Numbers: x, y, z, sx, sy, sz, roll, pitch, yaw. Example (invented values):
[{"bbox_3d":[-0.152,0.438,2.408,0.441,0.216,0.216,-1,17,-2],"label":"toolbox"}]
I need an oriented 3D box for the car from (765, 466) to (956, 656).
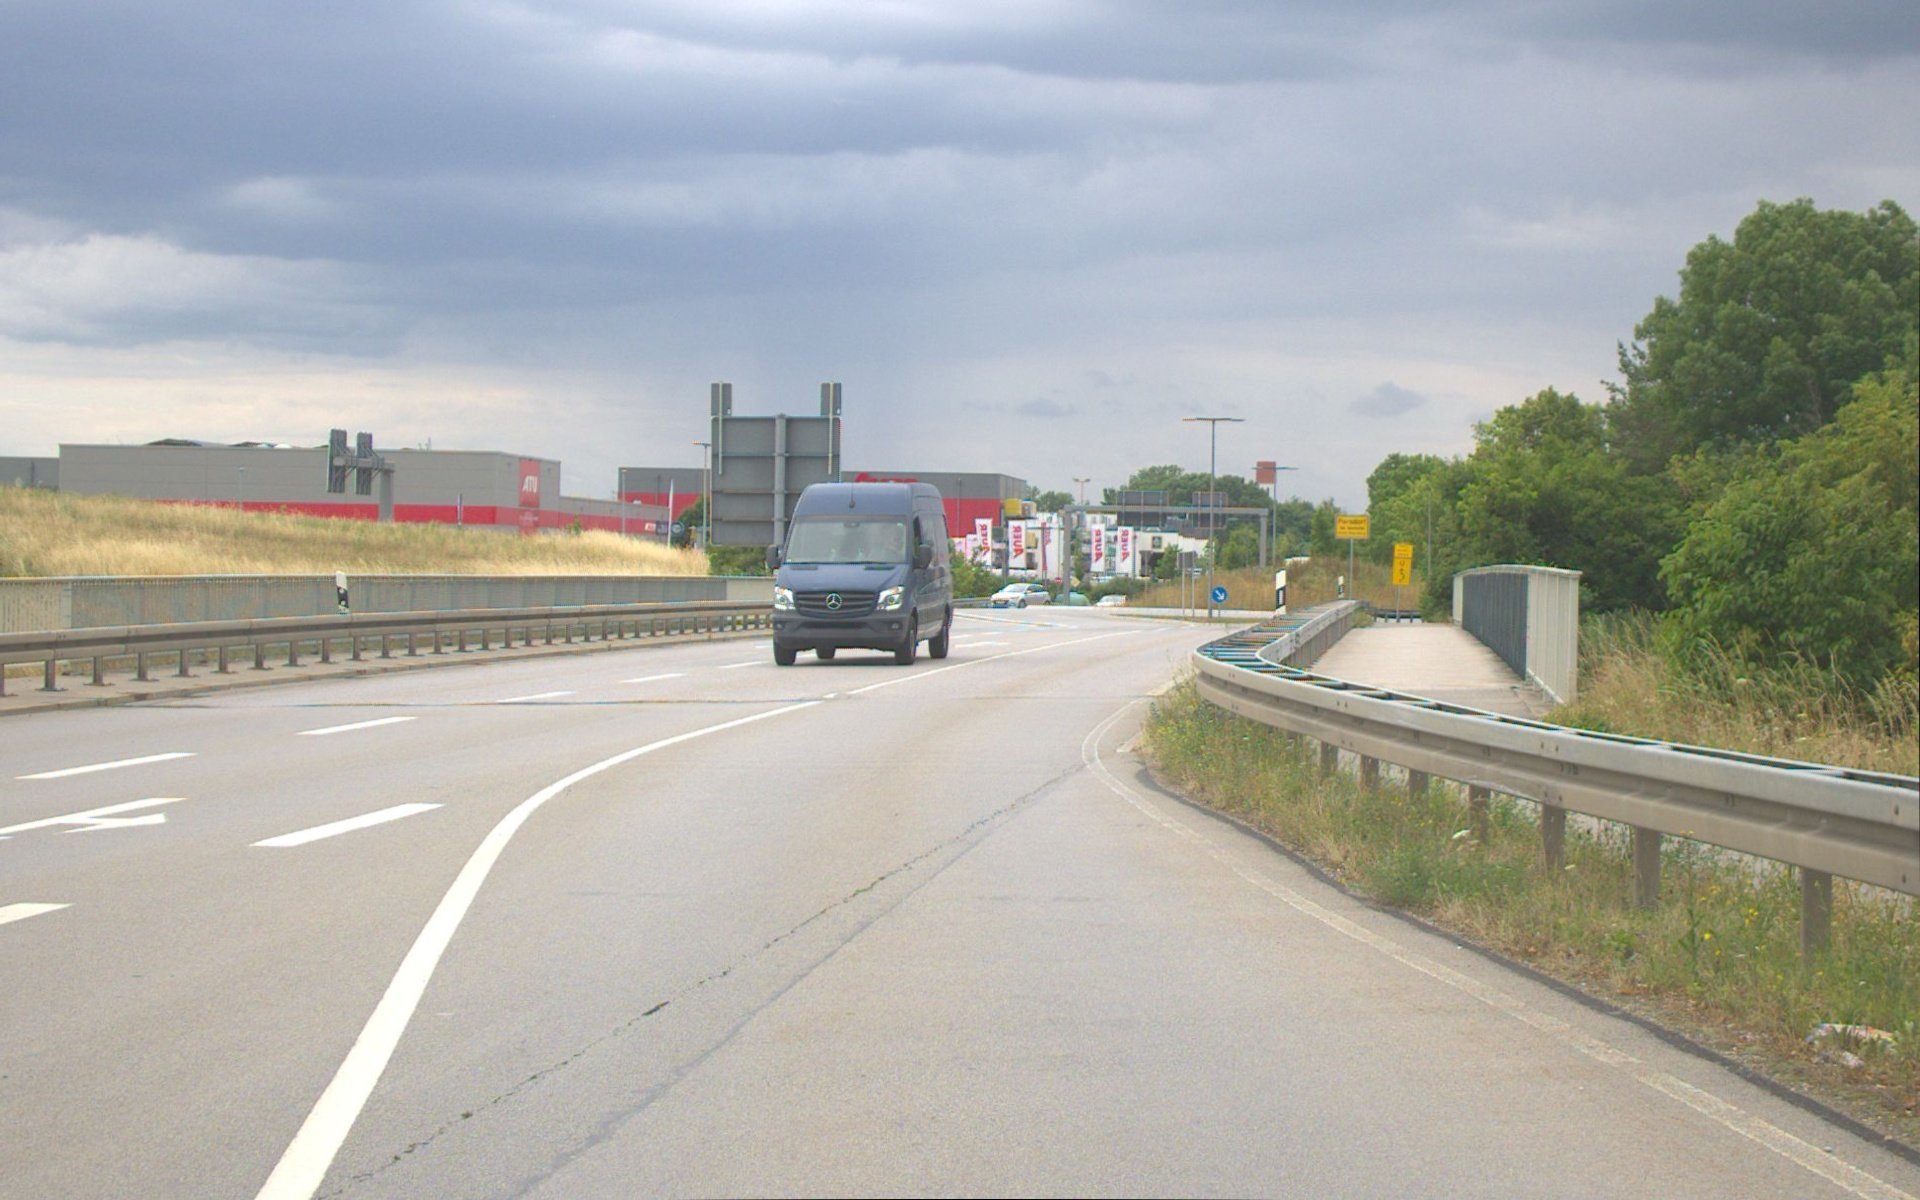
[{"bbox_3d":[-1.369,-0.578,49.987,1.994,2.583,6.003,0,1,6],"label":"car"}]

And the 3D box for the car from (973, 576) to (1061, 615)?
[{"bbox_3d":[2.909,-0.244,176.371,3.994,1.870,1.997,2,1,30],"label":"car"}]
